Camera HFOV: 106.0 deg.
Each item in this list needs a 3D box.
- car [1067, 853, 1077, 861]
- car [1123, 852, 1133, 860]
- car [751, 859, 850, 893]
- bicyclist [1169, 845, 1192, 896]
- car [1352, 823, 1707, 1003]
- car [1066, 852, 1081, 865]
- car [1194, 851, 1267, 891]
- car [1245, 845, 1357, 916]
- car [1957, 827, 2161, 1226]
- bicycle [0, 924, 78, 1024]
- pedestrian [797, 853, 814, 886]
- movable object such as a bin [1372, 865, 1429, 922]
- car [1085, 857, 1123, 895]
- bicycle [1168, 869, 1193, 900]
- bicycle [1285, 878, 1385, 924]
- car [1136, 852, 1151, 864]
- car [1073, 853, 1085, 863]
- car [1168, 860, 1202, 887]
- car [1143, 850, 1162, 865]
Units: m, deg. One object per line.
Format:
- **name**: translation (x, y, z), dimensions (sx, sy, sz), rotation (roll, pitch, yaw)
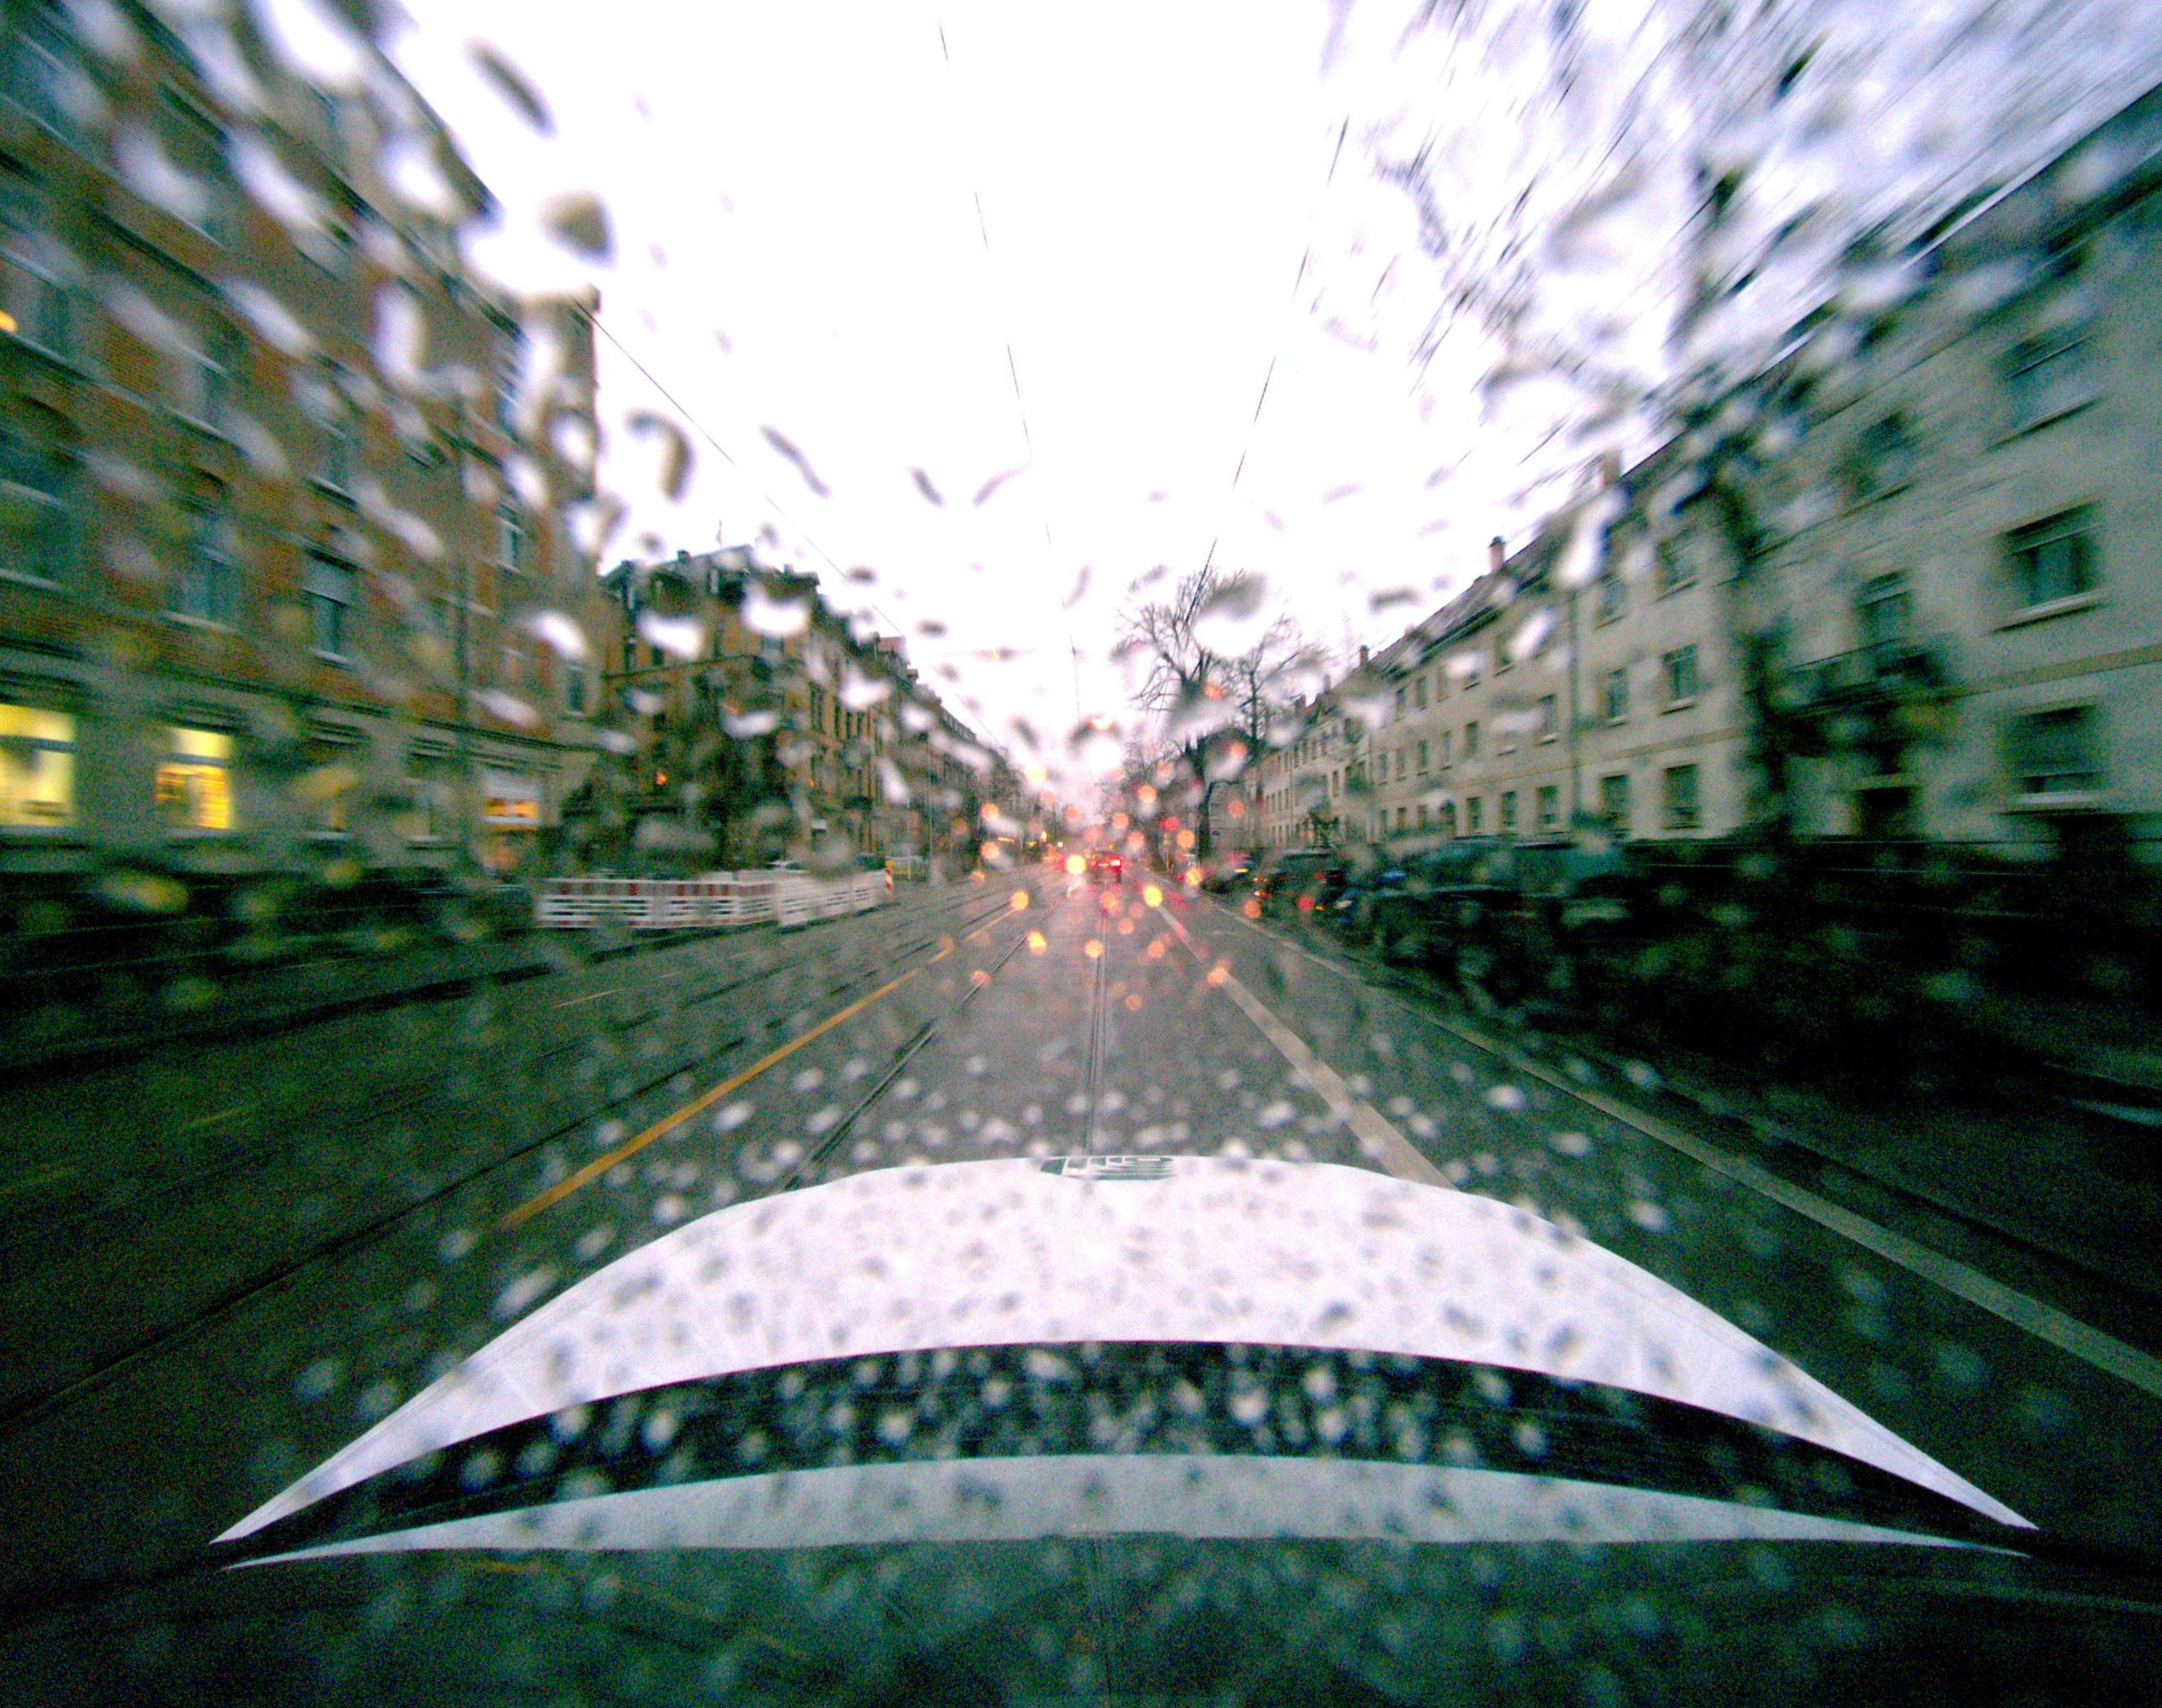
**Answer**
- **car**: translation (-1.906, 0.639, 168.647), dimensions (1.916, 1.720, 4.002), rotation (-1, 0, 2)
- **car**: translation (9.511, 0.450, 164.860), dimensions (1.778, 1.509, 4.110), rotation (-1, 0, 2)
- **car**: translation (-13.769, 1.058, 40.097), dimensions (4.196, 1.526, 1.976), rotation (-1, 0, -42)
- **bicyclist**: translation (3.456, 0.560, 28.392), dimensions (0.727, 1.736, 0.766), rotation (-1, 0, 3)
- **car**: translation (5.187, 0.572, 10.383), dimensions (1.899, 1.727, 4.903), rotation (-1, 0, 1)
- **car**: translation (-1.004, 0.635, 113.847), dimensions (1.916, 1.662, 4.002), rotation (-1, 0, 2)
- **car**: translation (5.821, 0.623, 32.178), dimensions (1.874, 1.420, 4.340), rotation (-3, 0, -2)
- **car**: translation (5.564, 0.612, 21.153), dimensions (1.897, 1.610, 4.565), rotation (-1, 0, 3)
- **car**: translation (4.941, 0.639, 1.796), dimensions (1.779, 1.509, 3.988), rotation (-1, 0, 1)
- **bicycle**: translation (-10.688, 1.203, 7.678), dimensions (0.262, 0.915, 1.686), rotation (5, 0, 2)
- **pedestrian**: translation (-14.978, 0.825, 44.300), dimensions (0.722, 1.773, 0.764), rotation (-1, 0, -27)
- **movable object such as a bin**: translation (6.022, 0.734, 15.371), dimensions (0.749, 0.954, 0.568), rotation (-6, 0, -4)
- **car**: translation (1.273, 1.129, 43.453), dimensions (1.793, 1.871, 4.023), rotation (2, 0, 5)
- **bicycle**: translation (3.470, 1.049, 28.469), dimensions (0.728, 1.007, 1.765), rotation (-1, 0, 3)
- **bicycle**: translation (5.481, 1.020, 17.648), dimensions (2.001, 0.916, 0.466), rotation (-2, 0, 10)
- **car**: translation (8.183, 0.458, 106.264), dimensions (1.778, 1.509, 4.110), rotation (-1, 0, 2)
- **car**: translation (-0.313, 0.630, 142.325), dimensions (1.916, 1.662, 4.002), rotation (-1, 0, 2)
- **car**: translation (6.402, 1.191, 50.404), dimensions (1.778, 1.509, 4.112), rotation (-1, 0, 3)
- **car**: translation (7.707, 0.393, 88.236), dimensions (1.778, 1.509, 4.110), rotation (-1, 0, 2)
